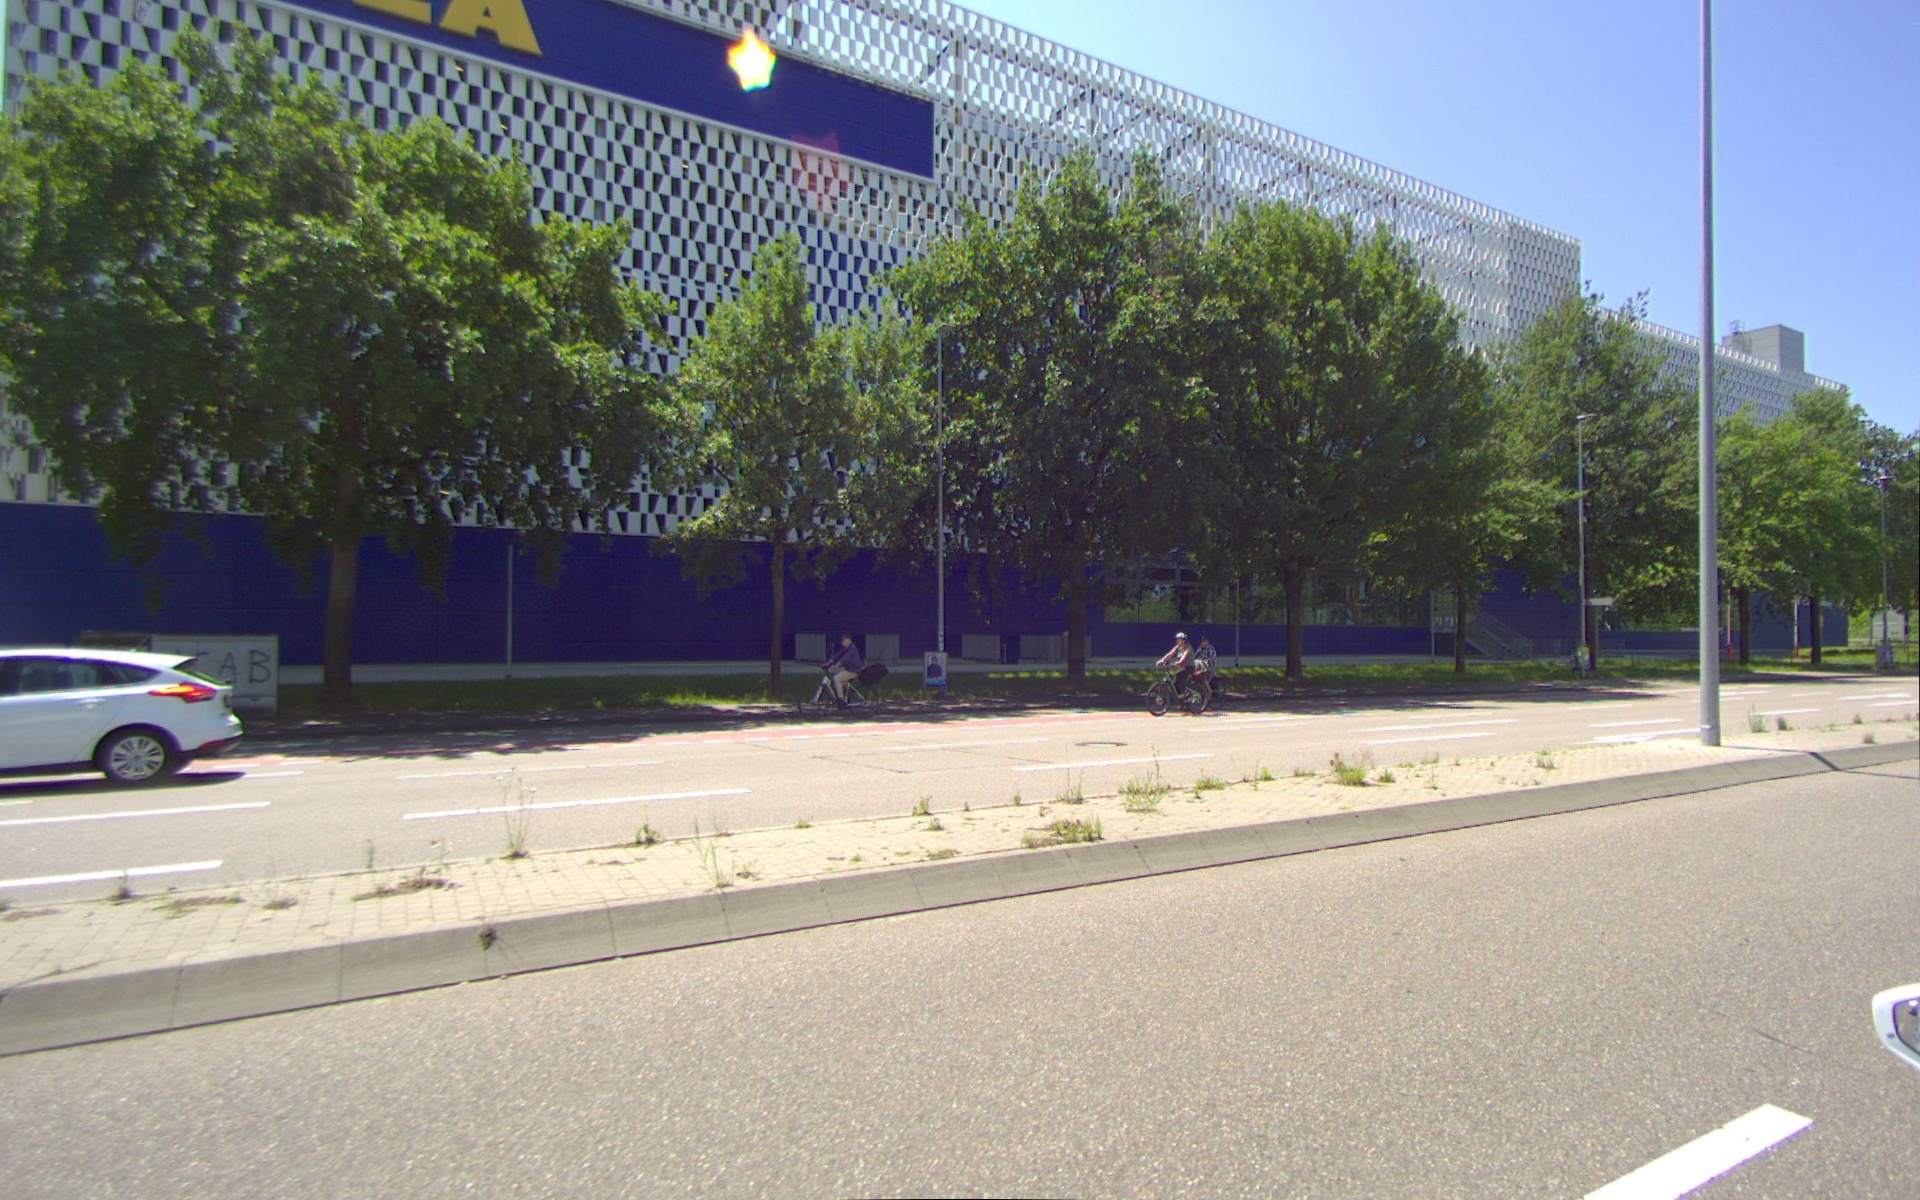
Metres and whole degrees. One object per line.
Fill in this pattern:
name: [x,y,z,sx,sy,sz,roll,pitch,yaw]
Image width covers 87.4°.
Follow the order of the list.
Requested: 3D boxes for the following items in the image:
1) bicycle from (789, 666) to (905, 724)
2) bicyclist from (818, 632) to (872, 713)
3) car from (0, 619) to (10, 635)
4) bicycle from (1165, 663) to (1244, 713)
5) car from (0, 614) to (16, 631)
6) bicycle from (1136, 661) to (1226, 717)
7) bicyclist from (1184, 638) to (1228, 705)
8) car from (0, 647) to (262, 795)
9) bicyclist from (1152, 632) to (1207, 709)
bicycle: [-2.449,2.039,21.849,2.404,1.140,0.736,1,-2,-28]
bicyclist: [-2.500,1.563,21.825,0.940,1.708,0.742,1,-2,-27]
car: [-99.084,2.756,102.544,1.975,1.572,3.972,1,-2,-28]
bicycle: [5.986,2.126,24.568,1.946,1.148,0.635,1,-2,-29]
car: [-109.044,2.585,114.276,1.609,1.938,3.470,1,-2,-30]
bicycle: [4.892,1.942,22.176,2.093,1.174,0.626,1,-4,-32]
bicyclist: [6.022,1.737,24.597,0.873,1.603,0.634,1,-2,-29]
car: [-10.132,1.240,10.605,4.403,1.464,1.718,2,-4,-32]
bicyclist: [4.843,1.540,22.159,1.033,1.650,0.630,1,-3,-31]
